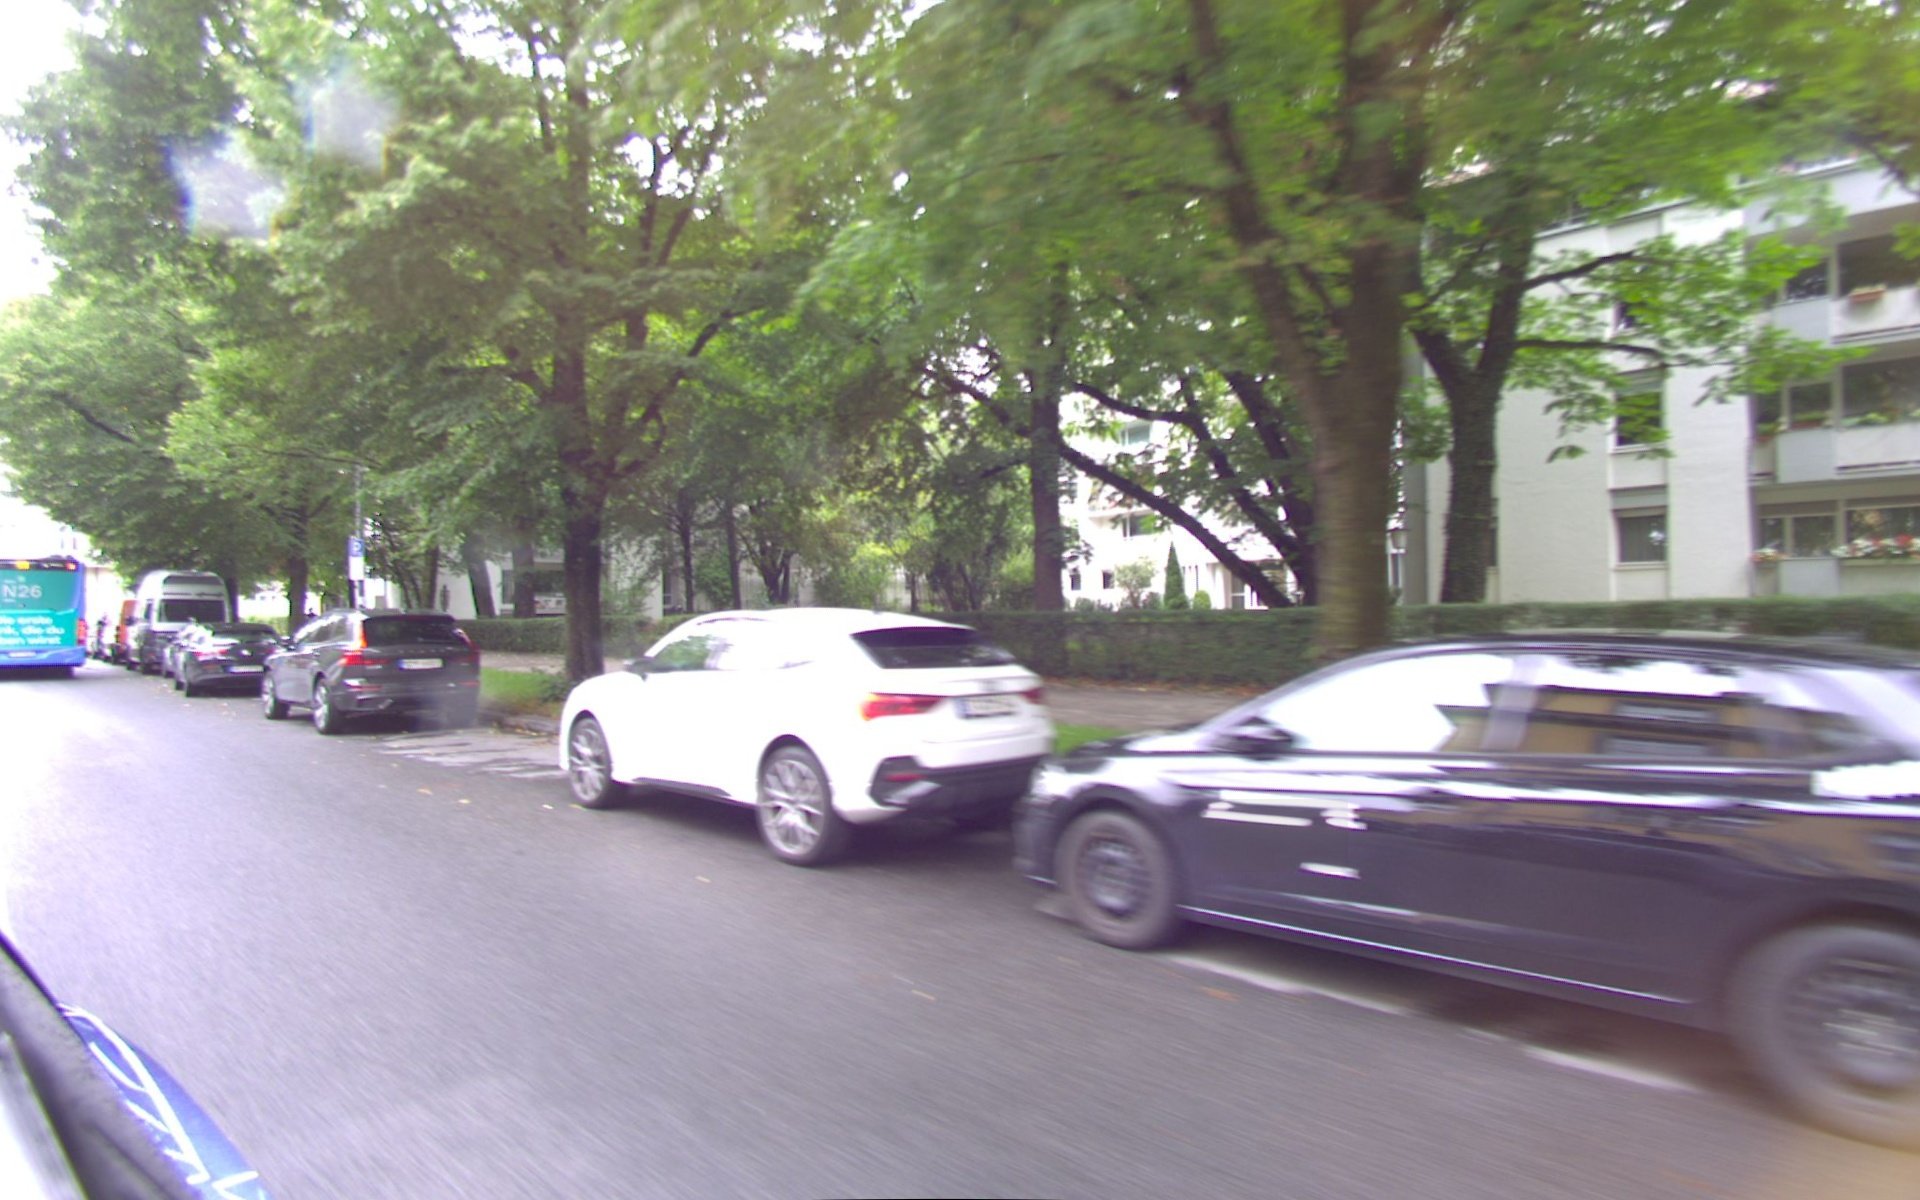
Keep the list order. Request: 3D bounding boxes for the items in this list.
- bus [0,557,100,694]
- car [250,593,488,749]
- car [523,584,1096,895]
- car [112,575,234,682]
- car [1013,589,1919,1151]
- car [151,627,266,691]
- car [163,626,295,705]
[{"bbox_3d":[-29.272,0.656,31.062,18.434,3.263,2.827,0,0,45],"label":"bus"},{"bbox_3d":[-8.558,0.898,14.479,4.549,1.891,1.764,-1,-2,44],"label":"car"},{"bbox_3d":[-1.383,0.757,7.482,4.585,1.609,1.764,-1,-1,44],"label":"car"},{"bbox_3d":[-23.454,0.791,30.047,6.237,2.876,1.923,0,-1,43],"label":"car"},{"bbox_3d":[2.303,0.728,4.037,4.105,1.480,1.653,-1,-1,44],"label":"car"},{"bbox_3d":[-19.059,1.445,25.604,1.769,1.449,4.581,1,-2,-44],"label":"car"},{"bbox_3d":[-15.328,1.298,21.126,1.768,1.449,4.557,1,-2,-42],"label":"car"}]
